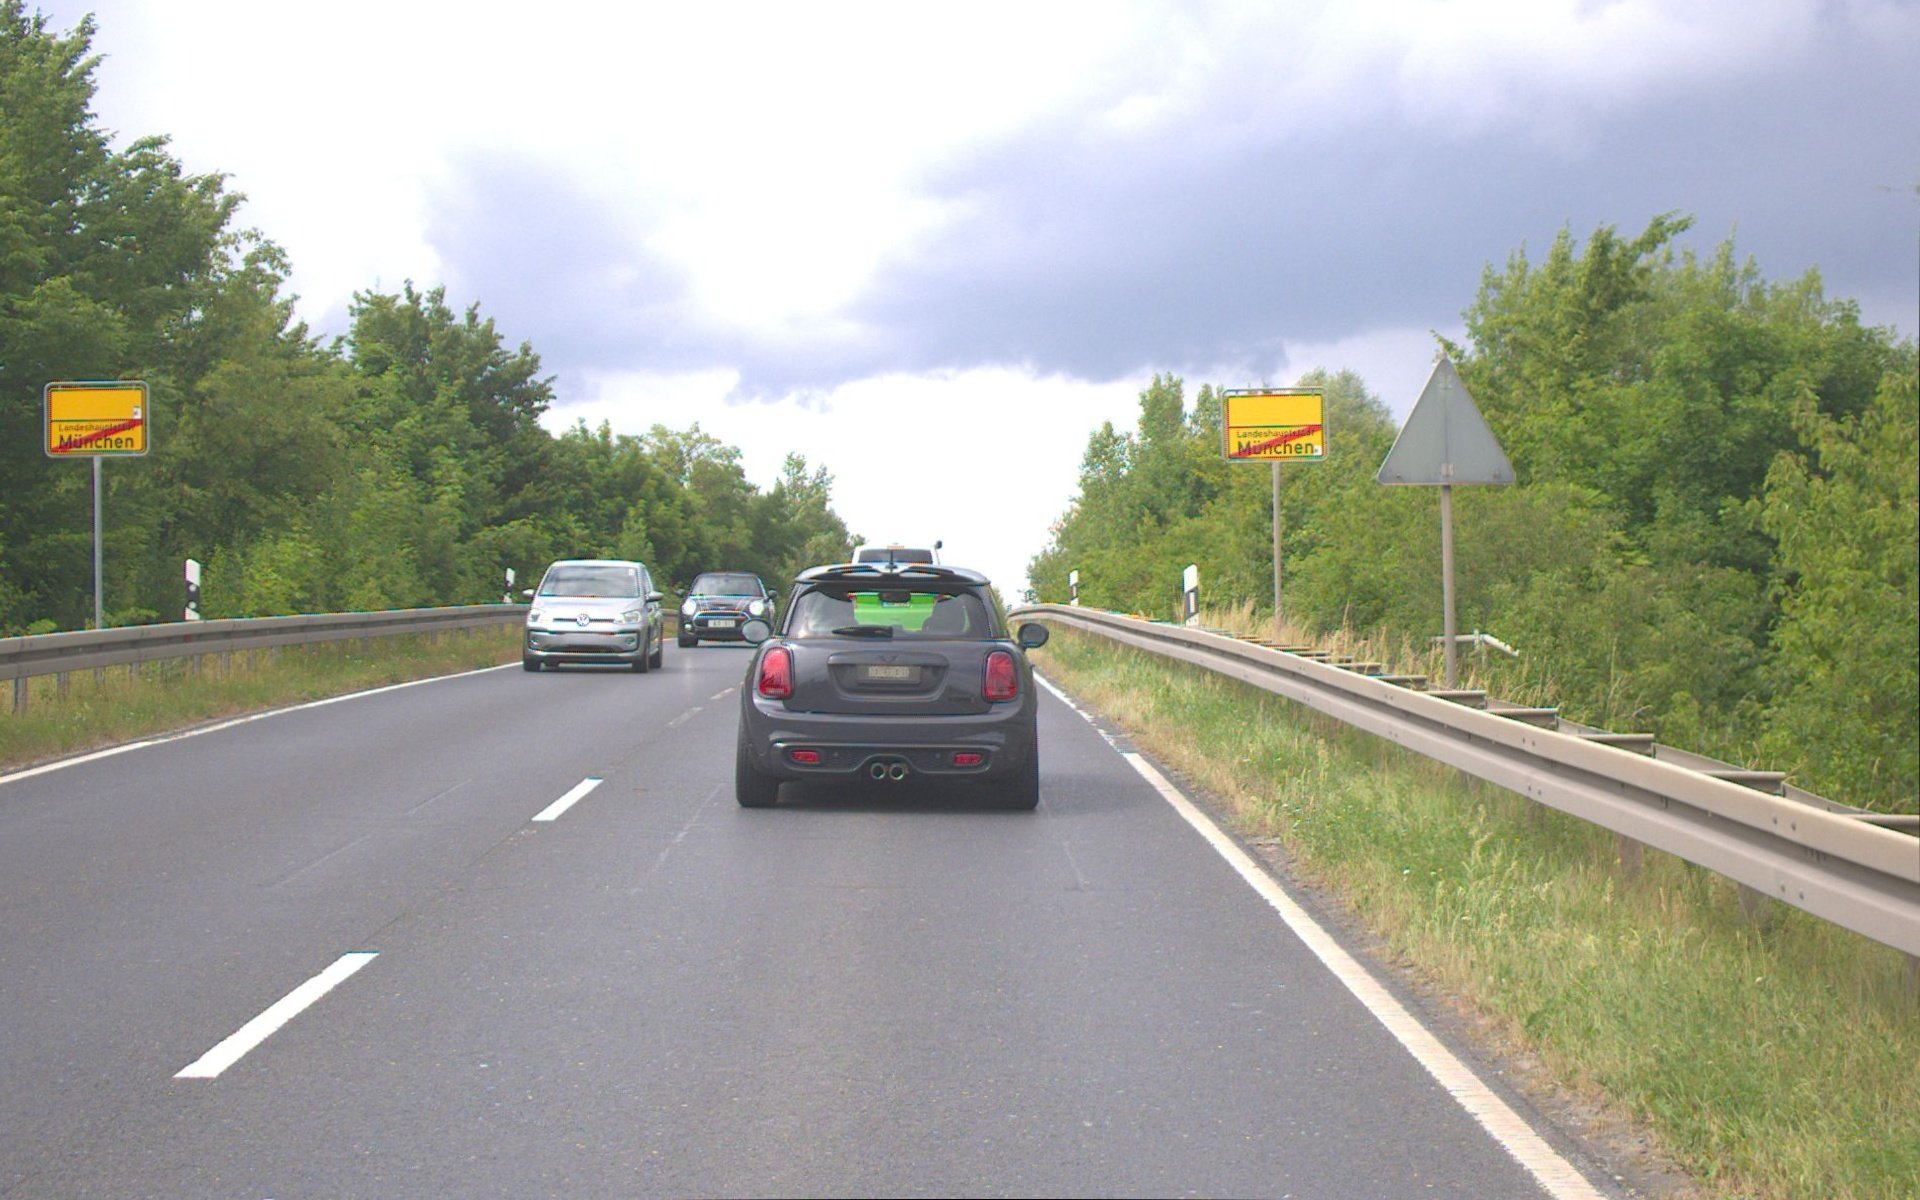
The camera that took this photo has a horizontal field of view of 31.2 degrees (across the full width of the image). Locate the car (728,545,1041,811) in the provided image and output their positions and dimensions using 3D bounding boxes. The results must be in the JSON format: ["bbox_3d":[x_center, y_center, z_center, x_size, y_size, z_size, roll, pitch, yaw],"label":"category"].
[{"bbox_3d":[-0.416,0.401,21.156,1.732,1.451,4.000,1,1,0],"label":"car"}]

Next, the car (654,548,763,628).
[{"bbox_3d":[-4.732,-0.247,65.081,1.835,1.415,4.000,1,1,-1],"label":"car"}]

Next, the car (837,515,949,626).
[{"bbox_3d":[-1.234,-0.565,64.387,2.022,2.006,4.000,0,1,-1],"label":"car"}]

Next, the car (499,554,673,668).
[{"bbox_3d":[-4.979,0.132,46.192,1.835,1.440,4.000,1,0,1],"label":"car"}]
